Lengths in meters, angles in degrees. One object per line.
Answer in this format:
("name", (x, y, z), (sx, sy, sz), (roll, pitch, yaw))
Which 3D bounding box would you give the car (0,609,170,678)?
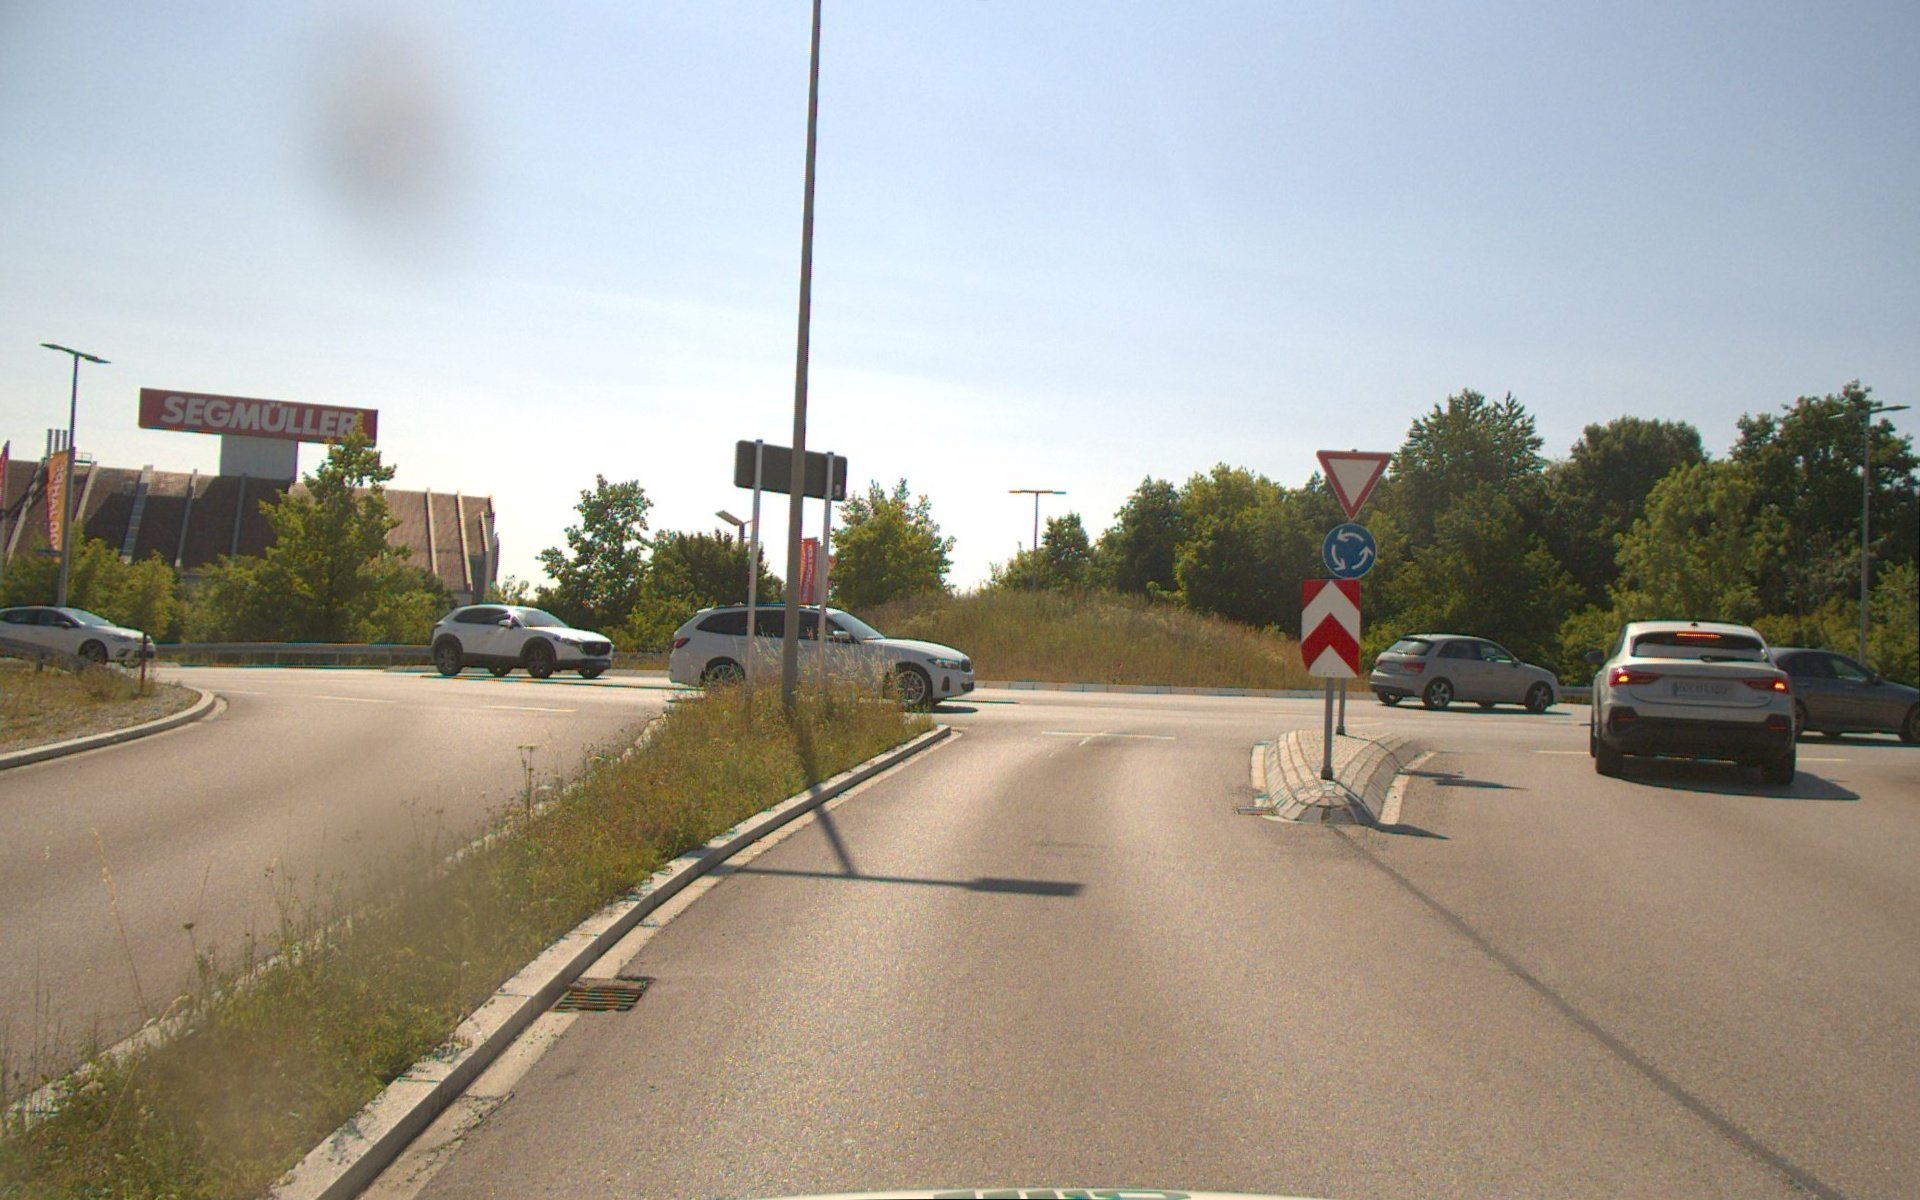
("car", (-21.452, 1.006, 39.400), (4.314, 1.429, 1.791), (3, -1, -2))

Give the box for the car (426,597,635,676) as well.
("car", (-9.312, 0.781, 35.838), (4.190, 1.557, 1.790), (1, -2, 27))

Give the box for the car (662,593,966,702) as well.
("car", (-2.172, 0.701, 24.916), (4.235, 1.375, 1.574), (3, -1, 12))

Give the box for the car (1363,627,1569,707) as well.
("car", (9.986, 1.323, 32.656), (3.701, 1.375, 1.523), (3, -1, -20))

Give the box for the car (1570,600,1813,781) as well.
("car", (7.654, 0.895, 17.692), (1.802, 1.624, 4.327), (1, -1, 16))

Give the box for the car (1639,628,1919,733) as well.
("car", (13.535, 1.311, 26.789), (4.796, 1.478, 1.984), (3, -1, -25))
